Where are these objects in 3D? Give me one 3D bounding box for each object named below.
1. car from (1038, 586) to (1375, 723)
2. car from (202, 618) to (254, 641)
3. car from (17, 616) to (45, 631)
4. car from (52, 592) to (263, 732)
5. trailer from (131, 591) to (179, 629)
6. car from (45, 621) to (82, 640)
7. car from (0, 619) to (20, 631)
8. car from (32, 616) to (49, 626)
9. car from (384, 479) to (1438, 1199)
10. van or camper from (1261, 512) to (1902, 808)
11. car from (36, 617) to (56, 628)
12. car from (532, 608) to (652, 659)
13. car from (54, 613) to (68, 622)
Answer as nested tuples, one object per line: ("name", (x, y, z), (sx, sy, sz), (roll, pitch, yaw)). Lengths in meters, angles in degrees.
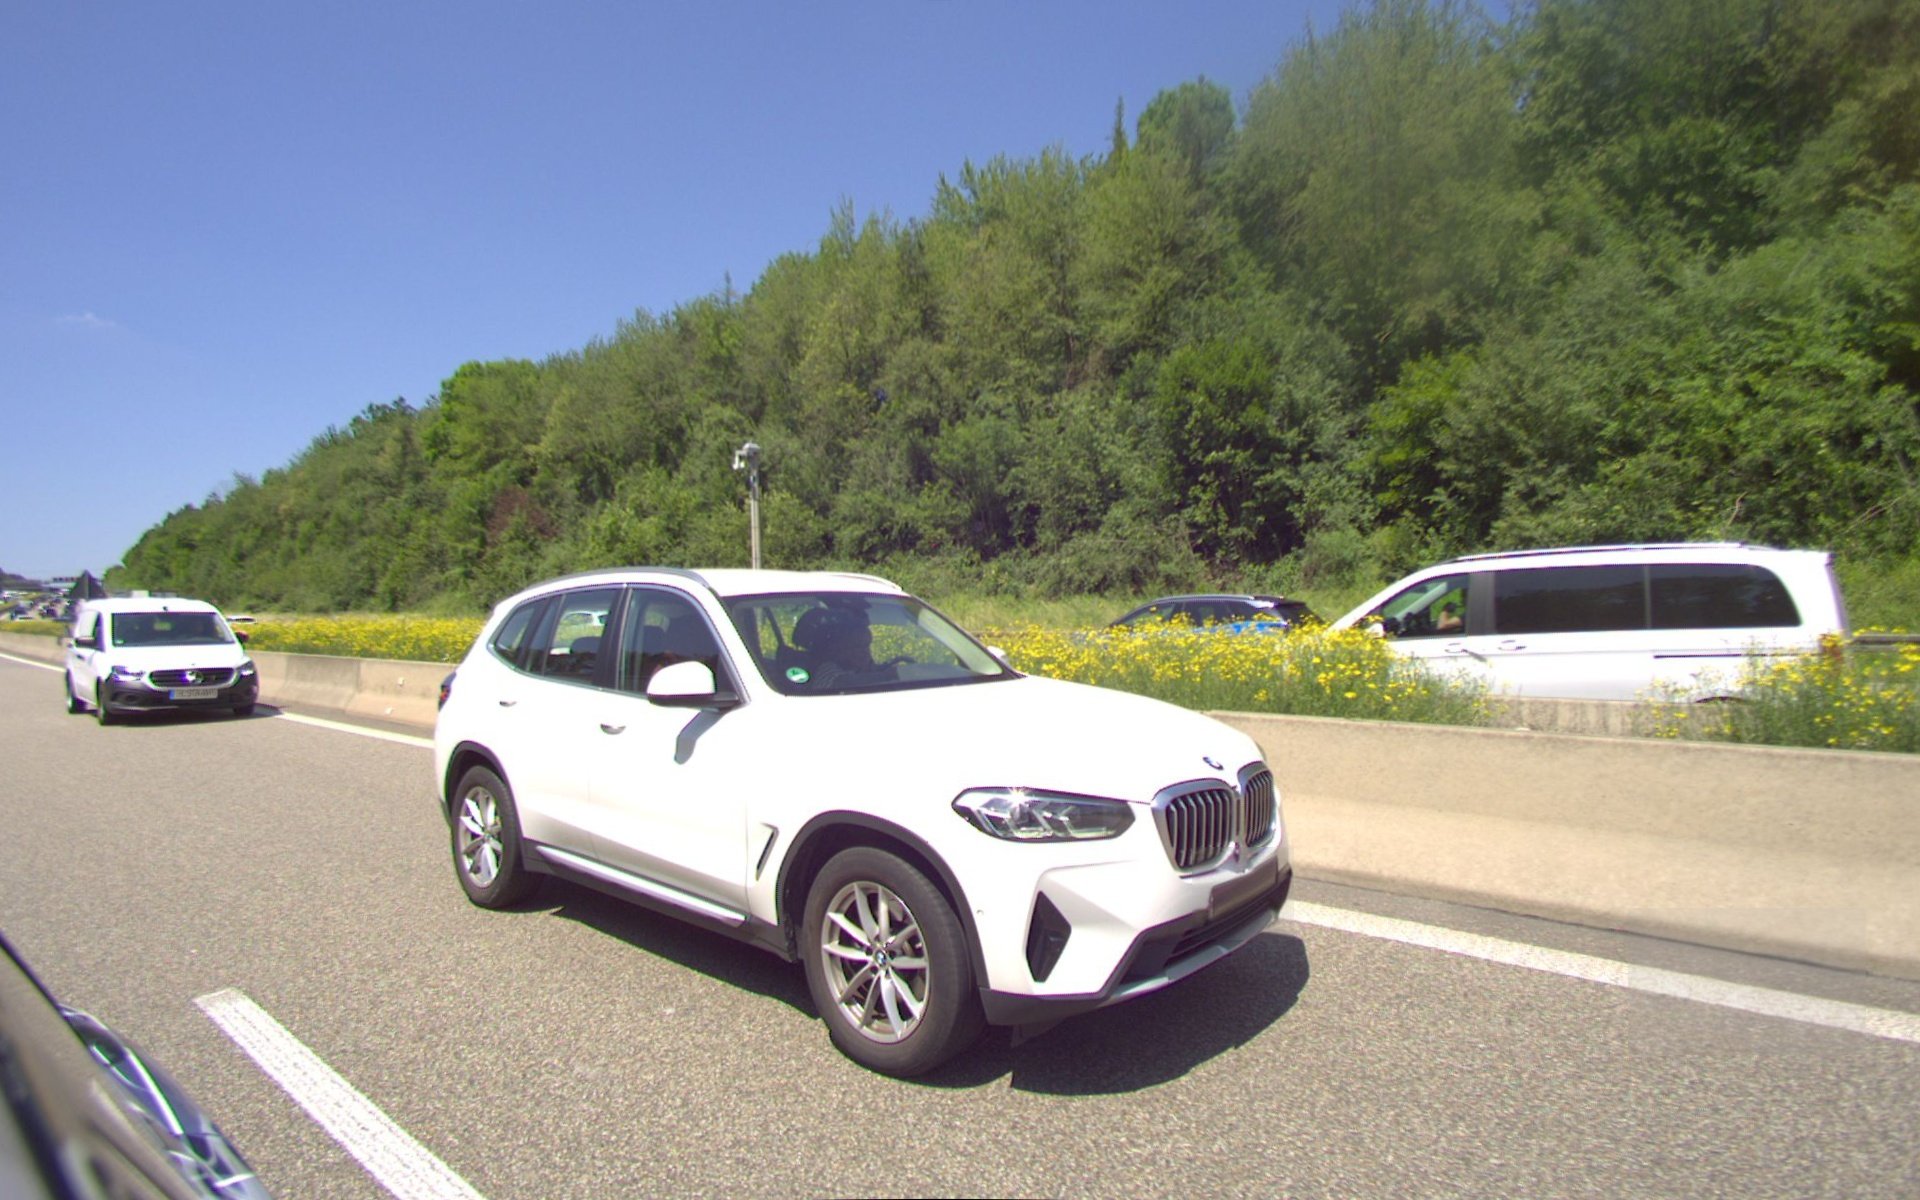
("car", (3.491, 0.690, 14.791), (4.398, 1.703, 1.973), (0, 0, 40))
("car", (-49.294, 1.948, 68.154), (4.170, 1.453, 1.973), (0, 0, 41))
("car", (-98.537, 2.481, 107.342), (4.001, 1.497, 1.971), (0, 0, 44))
("car", (-12.383, 0.861, 15.499), (4.672, 1.826, 1.746), (-2, -1, 41))
("trailer", (-93.221, 1.148, 117.103), (13.938, 4.239, 2.684), (0, 0, 45))
("car", (-74.067, 2.513, 83.613), (4.001, 1.497, 1.971), (0, 0, 44))
("car", (-139.406, 3.653, 148.395), (4.080, 1.691, 1.972), (-2, -1, 43))
("car", (-162.767, 3.786, 179.192), (4.001, 1.741, 1.971), (-1, -1, 44))
("car", (-0.705, 0.622, 4.672), (4.952, 1.707, 1.845), (-2, -1, 41))
("van or camper", (5.288, 0.418, 9.140), (4.584, 2.029, 1.863), (0, 0, 40))
("car", (-141.274, 3.434, 156.457), (3.980, 1.654, 1.927), (-2, -1, 43))
("car", (-12.758, 1.143, 34.974), (4.480, 1.629, 1.973), (-2, -1, 40))
("car", (-168.633, 3.301, 189.852), (1.969, 1.519, 4.005), (1, -2, -42))
